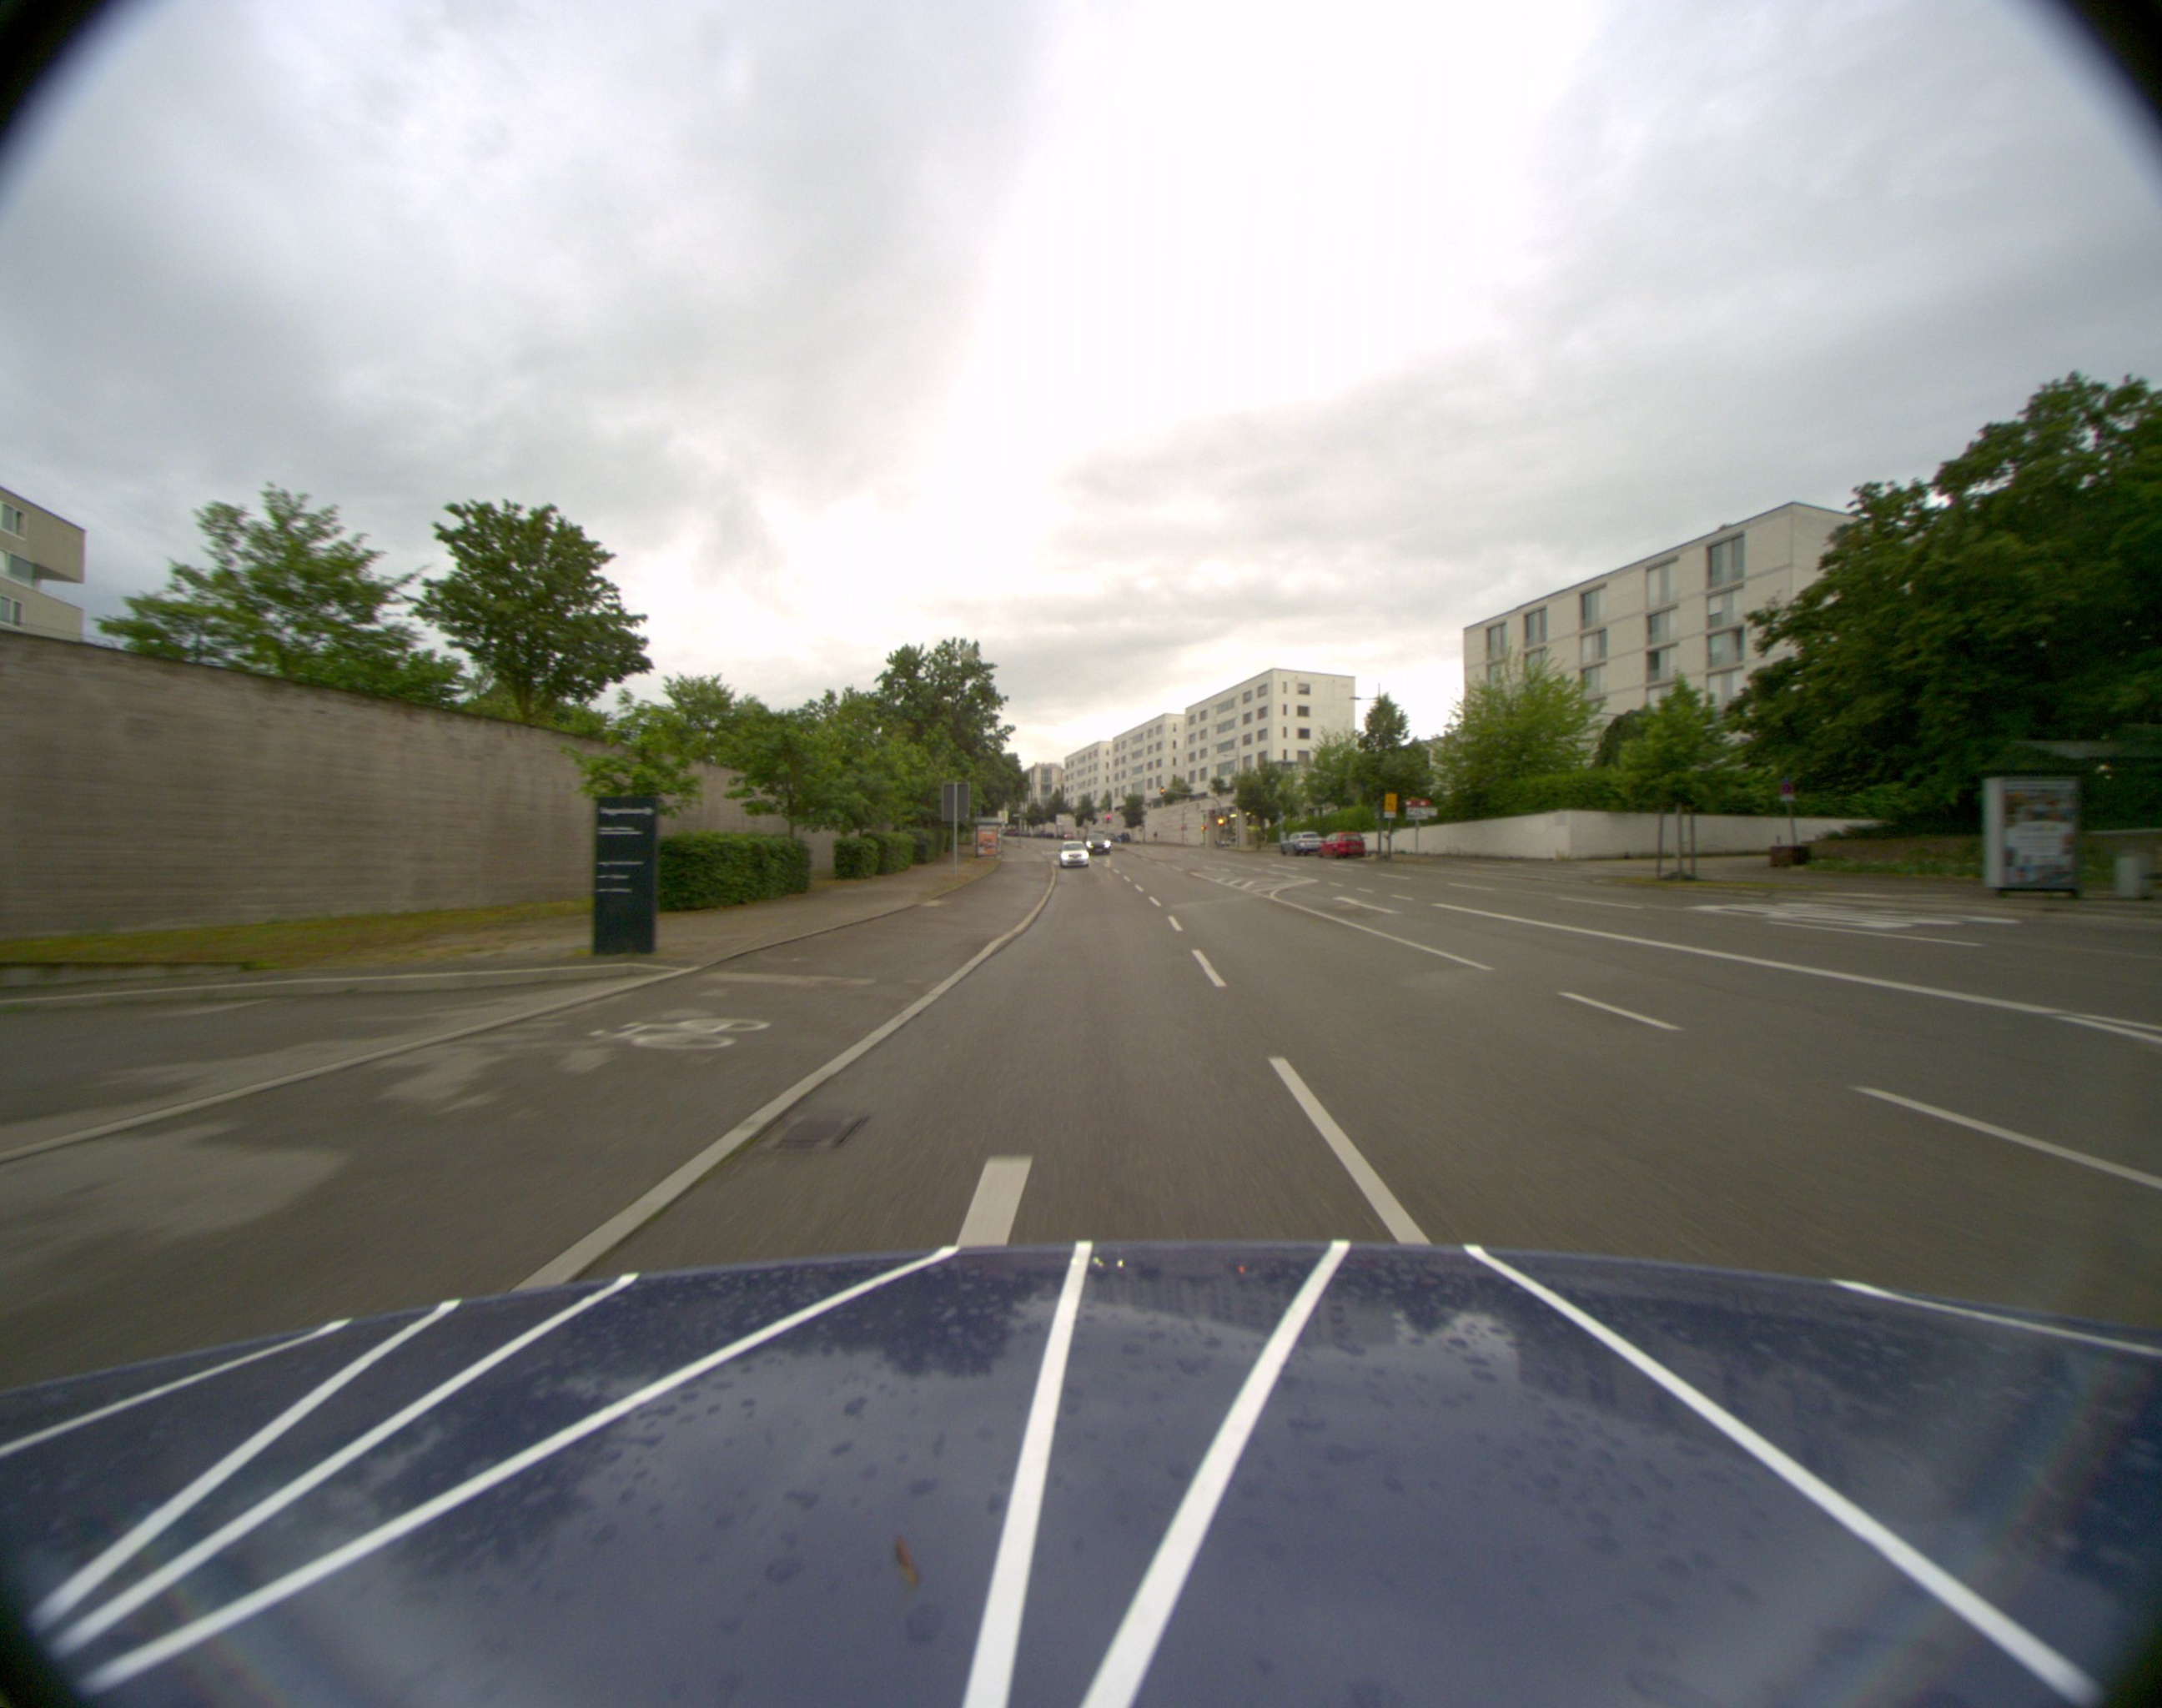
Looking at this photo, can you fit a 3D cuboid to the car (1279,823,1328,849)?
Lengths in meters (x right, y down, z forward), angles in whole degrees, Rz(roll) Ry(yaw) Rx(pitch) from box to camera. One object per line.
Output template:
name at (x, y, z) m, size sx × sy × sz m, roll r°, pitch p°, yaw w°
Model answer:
car at (15.480, -1.291, 53.148) m, size 1.769 × 1.644 × 4.880 m, roll -2°, pitch 3°, yaw -2°

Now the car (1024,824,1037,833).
car at (-11.725, -5.836, 175.395) m, size 1.926 × 2.002 × 4.379 m, roll -2°, pitch 1°, yaw -16°

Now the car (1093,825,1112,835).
car at (3.575, -4.010, 127.238) m, size 1.792 × 1.623 × 3.991 m, roll -1°, pitch 3°, yaw -20°

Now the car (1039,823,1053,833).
car at (-7.475, -5.460, 160.858) m, size 1.926 × 2.002 × 4.379 m, roll -2°, pitch 1°, yaw -16°

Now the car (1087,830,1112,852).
car at (1.454, -1.055, 61.124) m, size 1.830 × 1.584 × 3.999 m, roll -3°, pitch 1°, yaw 0°

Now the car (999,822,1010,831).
car at (-19.929, -7.133, 197.472) m, size 1.926 × 2.002 × 4.379 m, roll -2°, pitch 1°, yaw -16°

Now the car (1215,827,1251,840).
car at (20.315, -2.739, 101.589) m, size 4.350 × 1.643 × 1.996 m, roll -1°, pitch 3°, yaw -20°

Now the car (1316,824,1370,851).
car at (15.837, -1.045, 46.168) m, size 1.669 × 1.578 × 4.214 m, roll -1°, pitch 3°, yaw -2°

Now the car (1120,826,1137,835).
car at (7.360, -3.616, 117.192) m, size 1.683 × 1.451 × 2.690 m, roll -1°, pitch 3°, yaw -20°

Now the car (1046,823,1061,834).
car at (-5.691, -5.169, 155.104) m, size 1.926 × 2.002 × 4.379 m, roll -2°, pitch 1°, yaw -16°

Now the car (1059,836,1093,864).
car at (-0.275, -0.230, 47.176) m, size 1.927 × 1.652 × 4.000 m, roll -1°, pitch 0°, yaw 1°

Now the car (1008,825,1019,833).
car at (-15.810, -5.841, 177.559) m, size 1.967 × 1.829 × 4.441 m, roll -1°, pitch 3°, yaw -16°

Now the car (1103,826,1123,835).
car at (5.118, -3.842, 122.832) m, size 1.865 × 1.470 × 3.992 m, roll -1°, pitch 3°, yaw -20°

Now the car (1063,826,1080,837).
car at (-1.789, -4.074, 137.462) m, size 1.926 × 2.002 × 4.379 m, roll -2°, pitch 1°, yaw -16°

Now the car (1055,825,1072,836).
car at (-3.334, -4.440, 143.388) m, size 1.926 × 2.002 × 4.379 m, roll -2°, pitch 1°, yaw -16°
